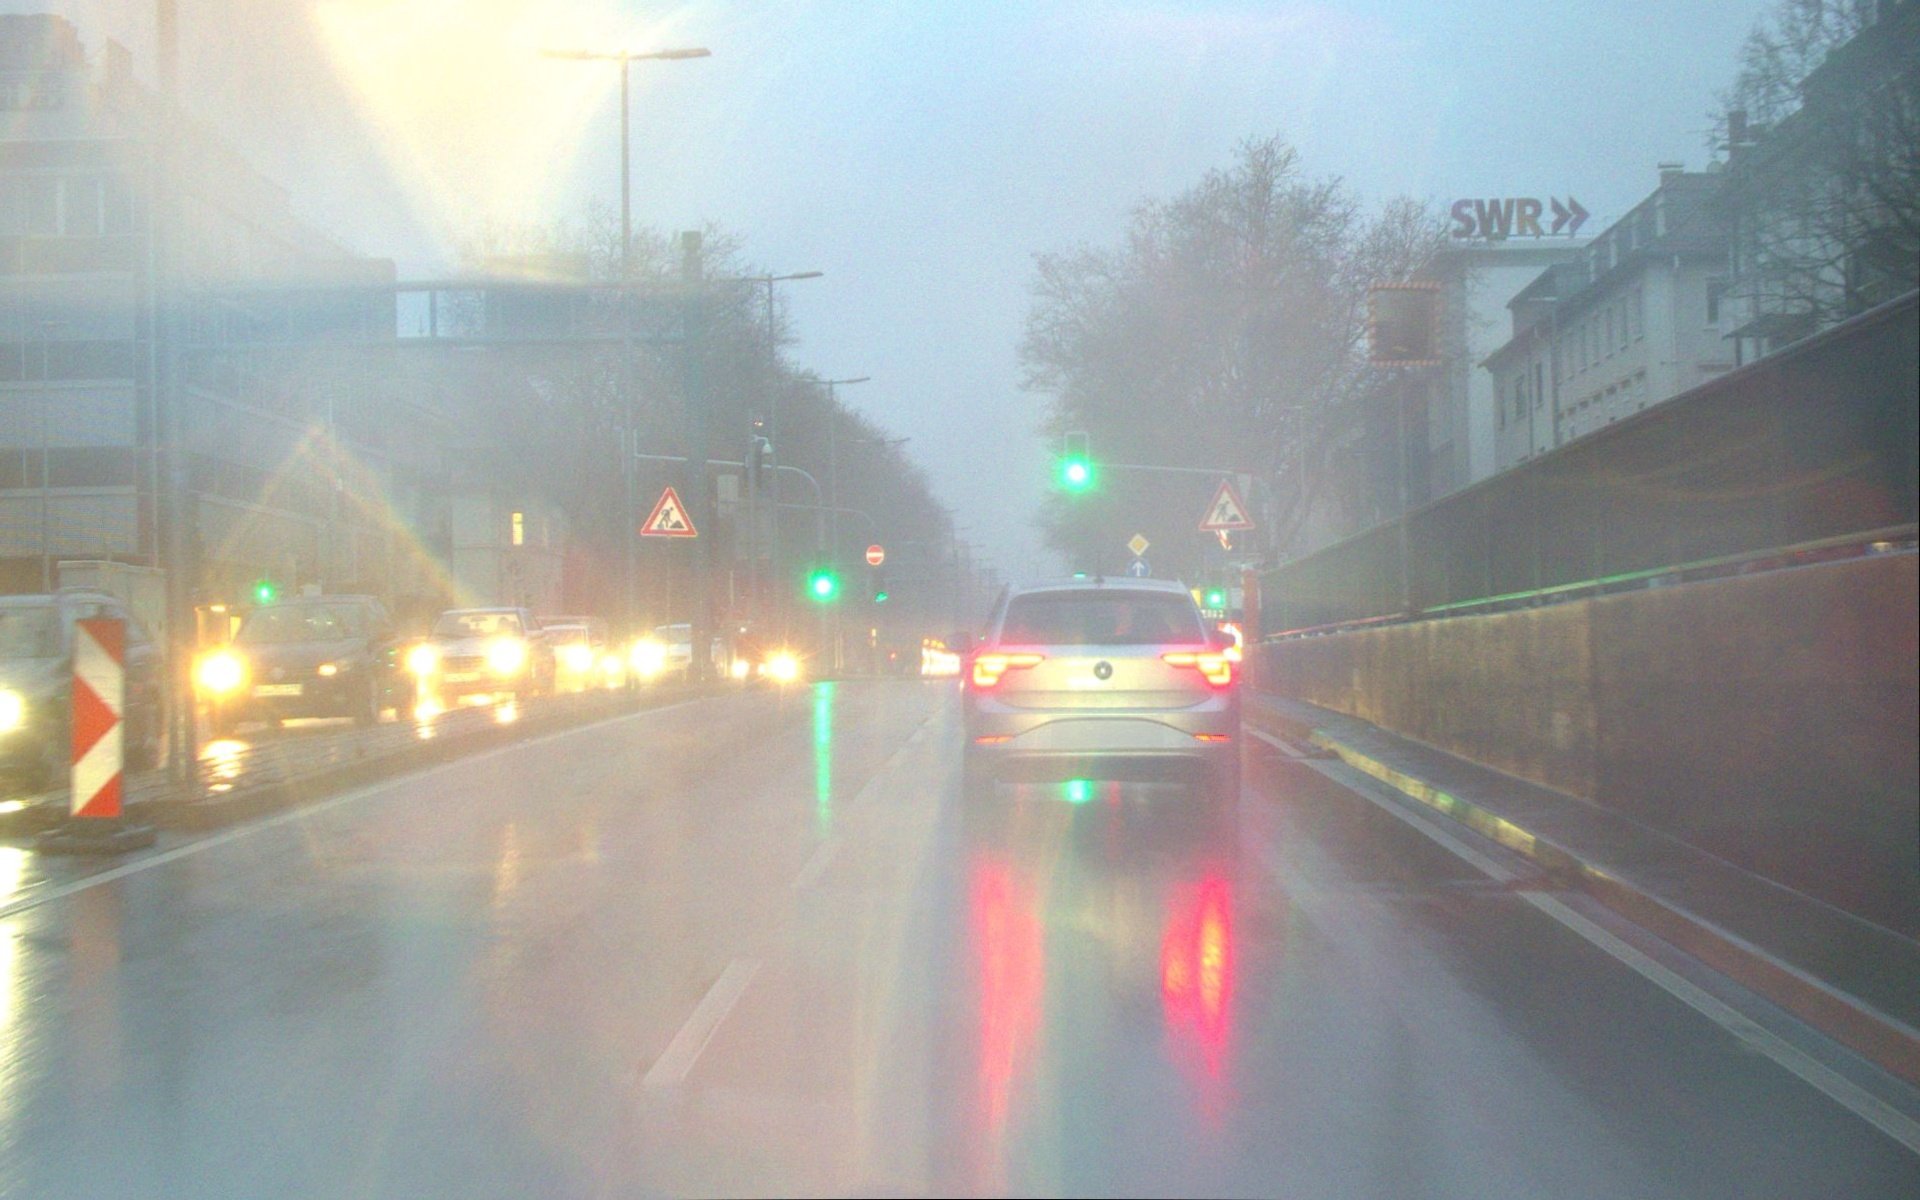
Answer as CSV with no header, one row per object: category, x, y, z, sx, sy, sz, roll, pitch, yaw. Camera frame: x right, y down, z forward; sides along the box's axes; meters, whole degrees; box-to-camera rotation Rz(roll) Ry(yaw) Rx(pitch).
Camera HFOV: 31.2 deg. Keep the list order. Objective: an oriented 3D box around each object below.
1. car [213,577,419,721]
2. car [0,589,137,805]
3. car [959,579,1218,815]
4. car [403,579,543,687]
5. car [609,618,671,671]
car,-6.970,0.500,37.487,1.496,1.378,3.434,-2,2,1
car,-7.333,0.680,25.220,1.608,1.378,3.695,-2,2,1
car,0.803,0.600,22.348,1.532,1.392,3.433,1,-1,1
car,-6.998,0.448,49.645,1.496,1.378,3.434,-2,2,0
car,-9.528,1.321,102.579,1.496,1.378,3.434,-2,2,0
